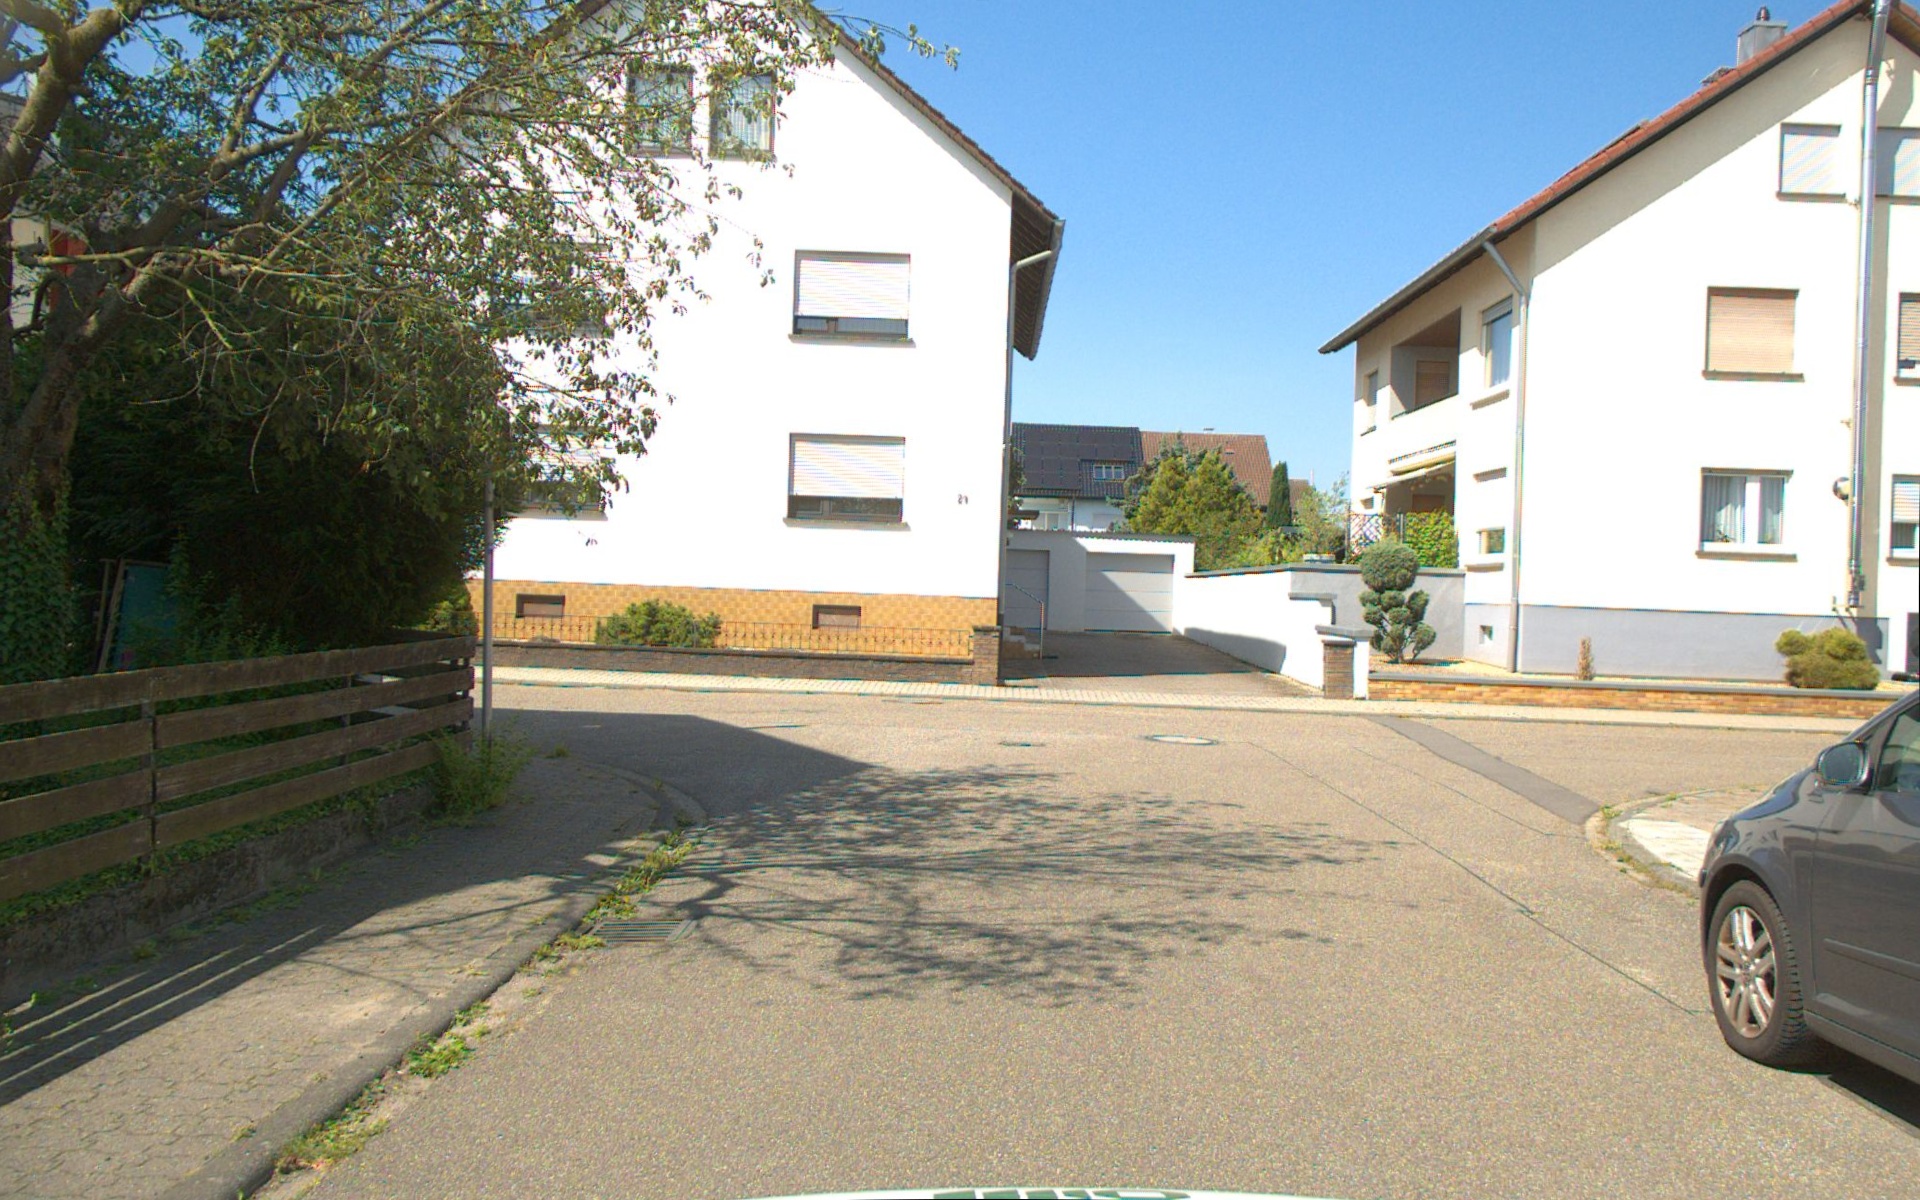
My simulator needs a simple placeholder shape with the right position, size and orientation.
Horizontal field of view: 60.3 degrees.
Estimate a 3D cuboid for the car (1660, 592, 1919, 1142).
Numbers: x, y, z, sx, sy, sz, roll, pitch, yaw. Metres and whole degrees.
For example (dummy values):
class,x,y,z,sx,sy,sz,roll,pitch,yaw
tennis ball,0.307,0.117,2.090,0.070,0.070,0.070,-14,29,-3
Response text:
class,x,y,z,sx,sy,sz,roll,pitch,yaw
car,3.585,0.795,4.479,1.611,1.573,4.047,1,1,0
